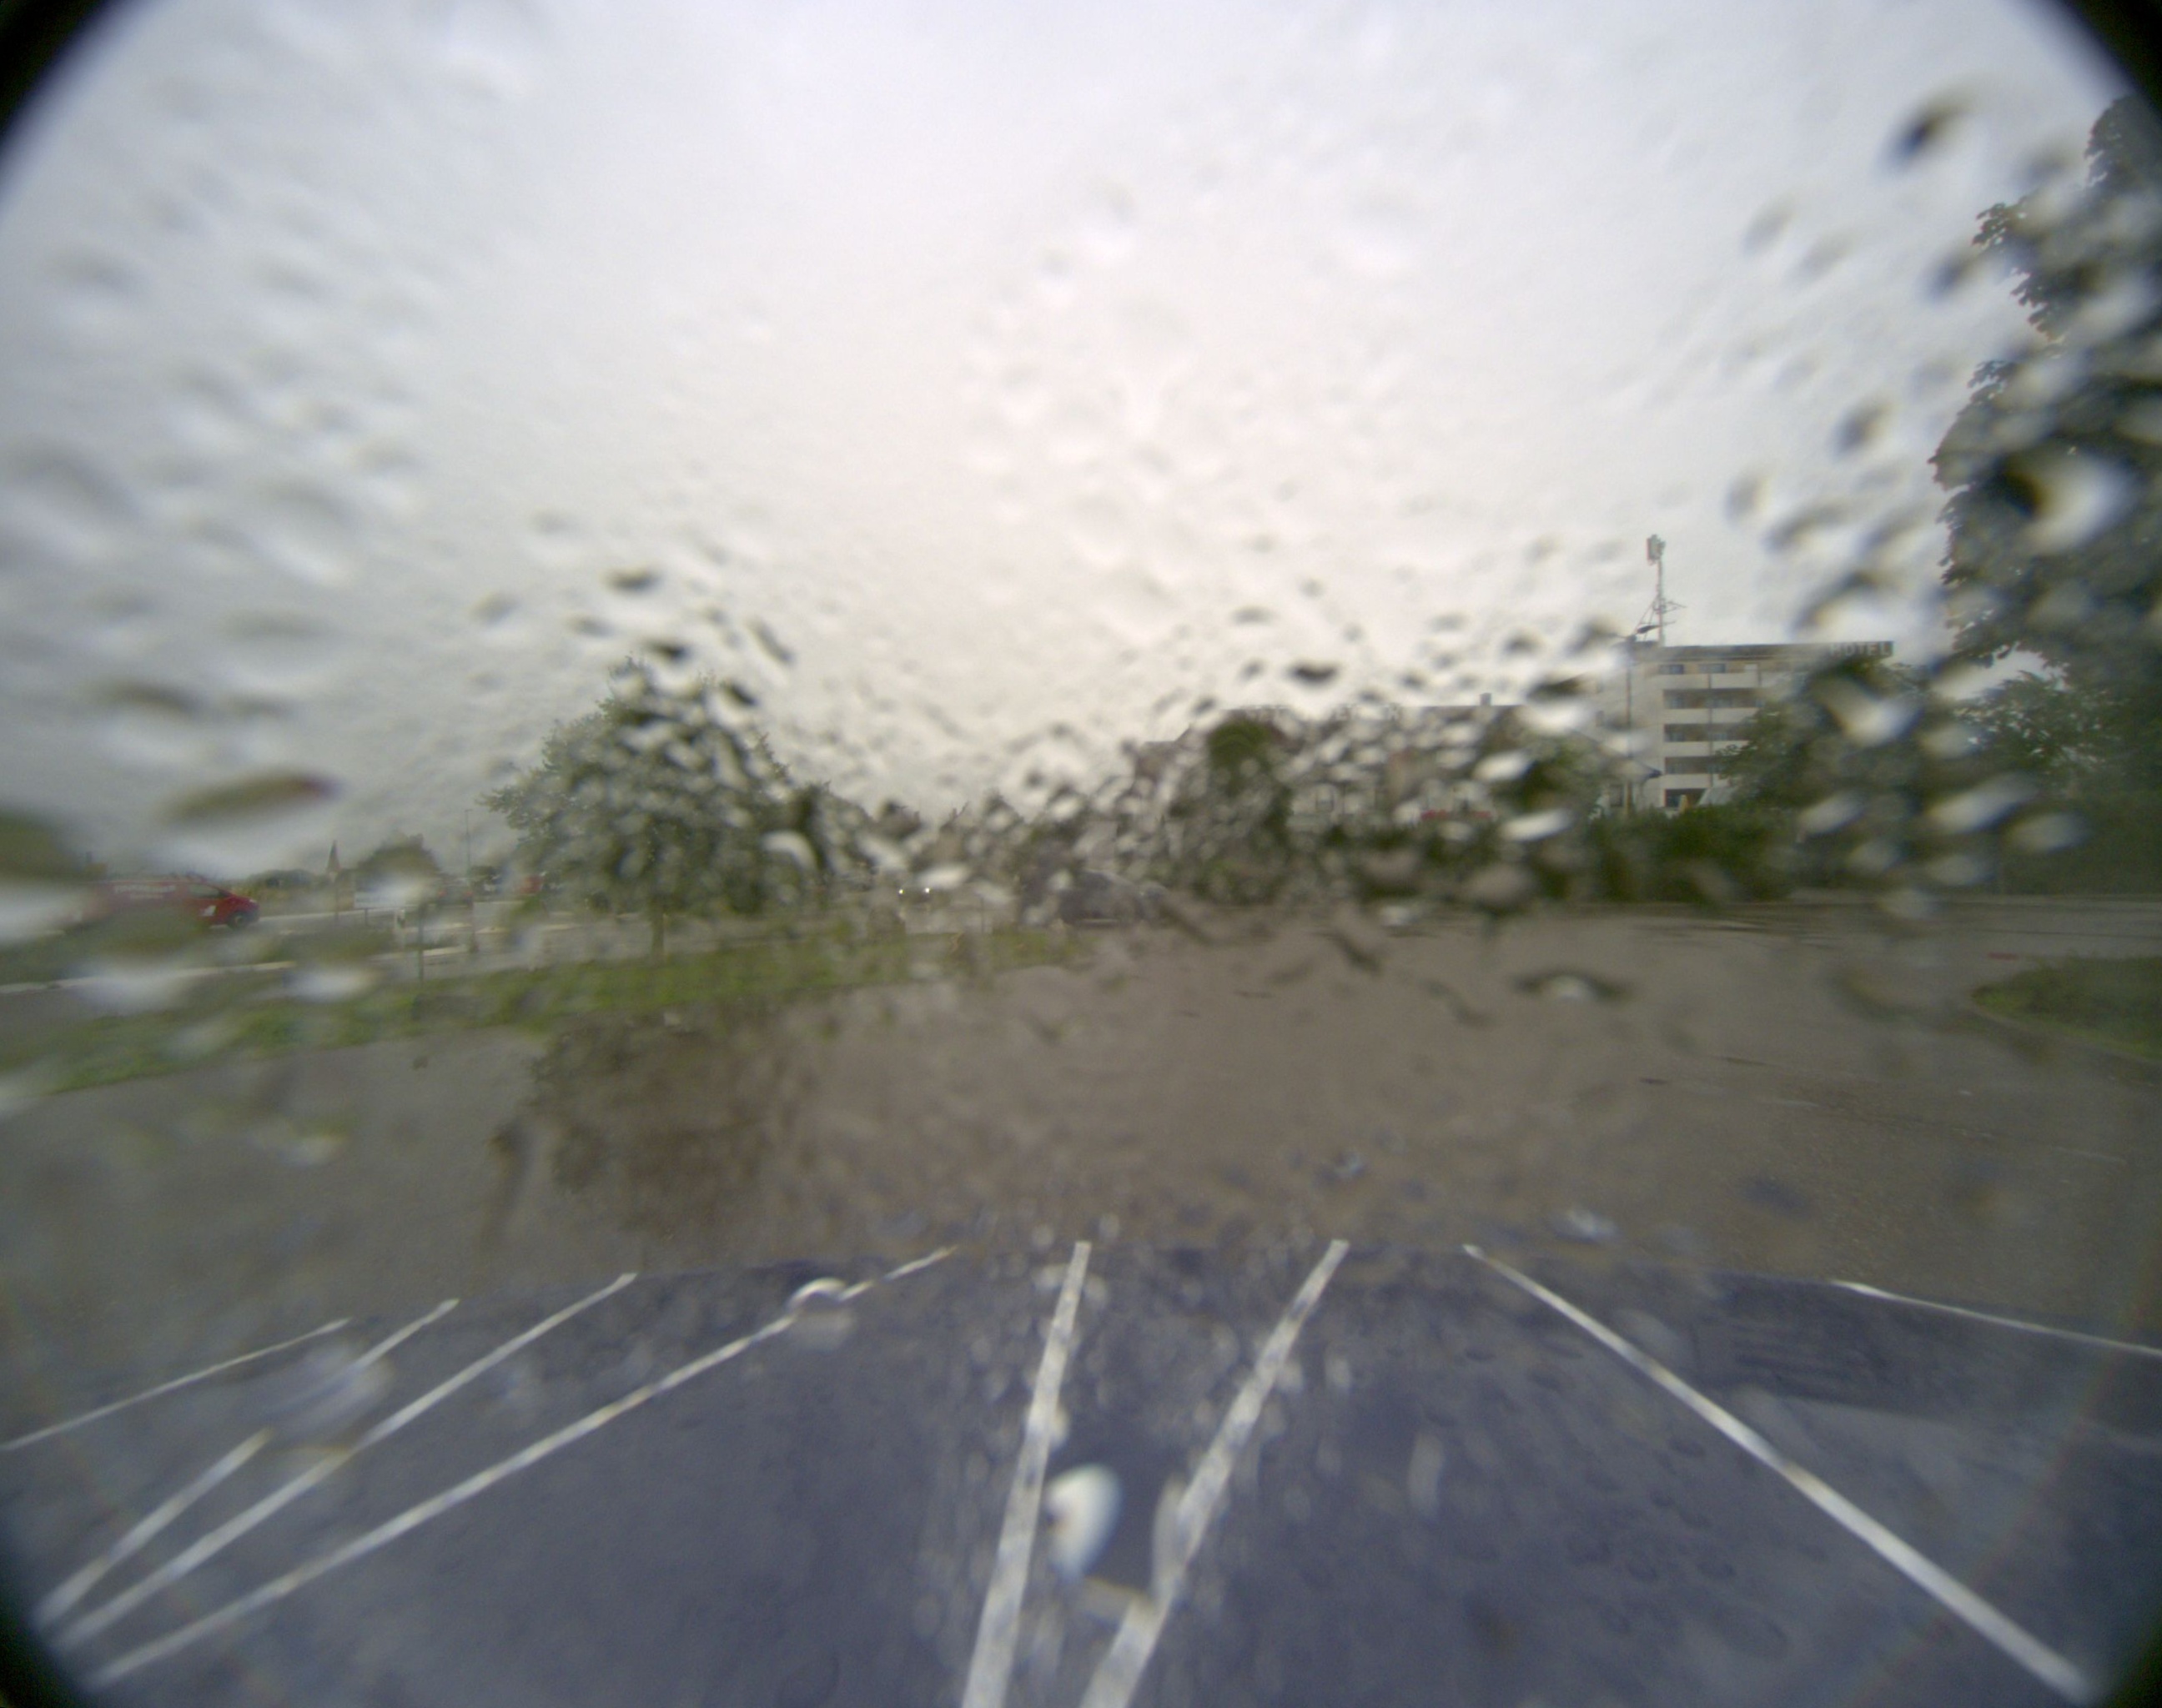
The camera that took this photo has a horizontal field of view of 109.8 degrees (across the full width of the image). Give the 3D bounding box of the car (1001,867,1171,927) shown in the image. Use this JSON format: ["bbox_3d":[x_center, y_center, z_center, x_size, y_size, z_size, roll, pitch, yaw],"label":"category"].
[{"bbox_3d":[0.124,1.236,22.236,4.489,1.565,2.004,-2,-1,27],"label":"car"}]

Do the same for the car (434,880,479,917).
[{"bbox_3d":[-39.500,2.754,48.154,2.004,2.002,3.988,-1,2,-37],"label":"car"}]

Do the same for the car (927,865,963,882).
[{"bbox_3d":[-13.778,1.947,76.754,1.669,1.540,3.717,-2,-1,-44],"label":"car"}]

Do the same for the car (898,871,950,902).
[{"bbox_3d":[-8.098,1.660,39.561,1.705,1.416,4.361,-1,-1,0],"label":"car"}]

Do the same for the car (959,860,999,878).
[{"bbox_3d":[-10.832,1.614,80.590,3.989,1.717,1.994,-3,-1,40],"label":"car"}]

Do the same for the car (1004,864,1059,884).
[{"bbox_3d":[-4.018,1.643,62.624,4.357,1.416,1.850,-2,0,-1],"label":"car"}]

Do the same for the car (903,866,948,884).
[{"bbox_3d":[-15.332,2.037,74.707,4.636,1.541,2.004,-4,-1,43],"label":"car"}]

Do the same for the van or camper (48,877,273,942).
[{"bbox_3d":[-33.305,1.914,27.751,1.997,2.002,4.852,0,0,11],"label":"van or camper"}]

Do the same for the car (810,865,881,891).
[{"bbox_3d":[-17.639,1.772,57.143,4.606,1.711,2.000,-3,0,1],"label":"car"}]

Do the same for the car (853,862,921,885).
[{"bbox_3d":[-17.112,1.692,67.057,5.373,1.711,2.000,-3,0,1],"label":"car"}]

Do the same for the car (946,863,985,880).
[{"bbox_3d":[-11.953,1.828,78.404,3.878,1.560,1.753,-3,-1,40],"label":"car"}]

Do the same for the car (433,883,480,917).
[{"bbox_3d":[-39.538,2.888,48.076,2.004,2.002,3.990,-3,0,-42],"label":"car"}]
